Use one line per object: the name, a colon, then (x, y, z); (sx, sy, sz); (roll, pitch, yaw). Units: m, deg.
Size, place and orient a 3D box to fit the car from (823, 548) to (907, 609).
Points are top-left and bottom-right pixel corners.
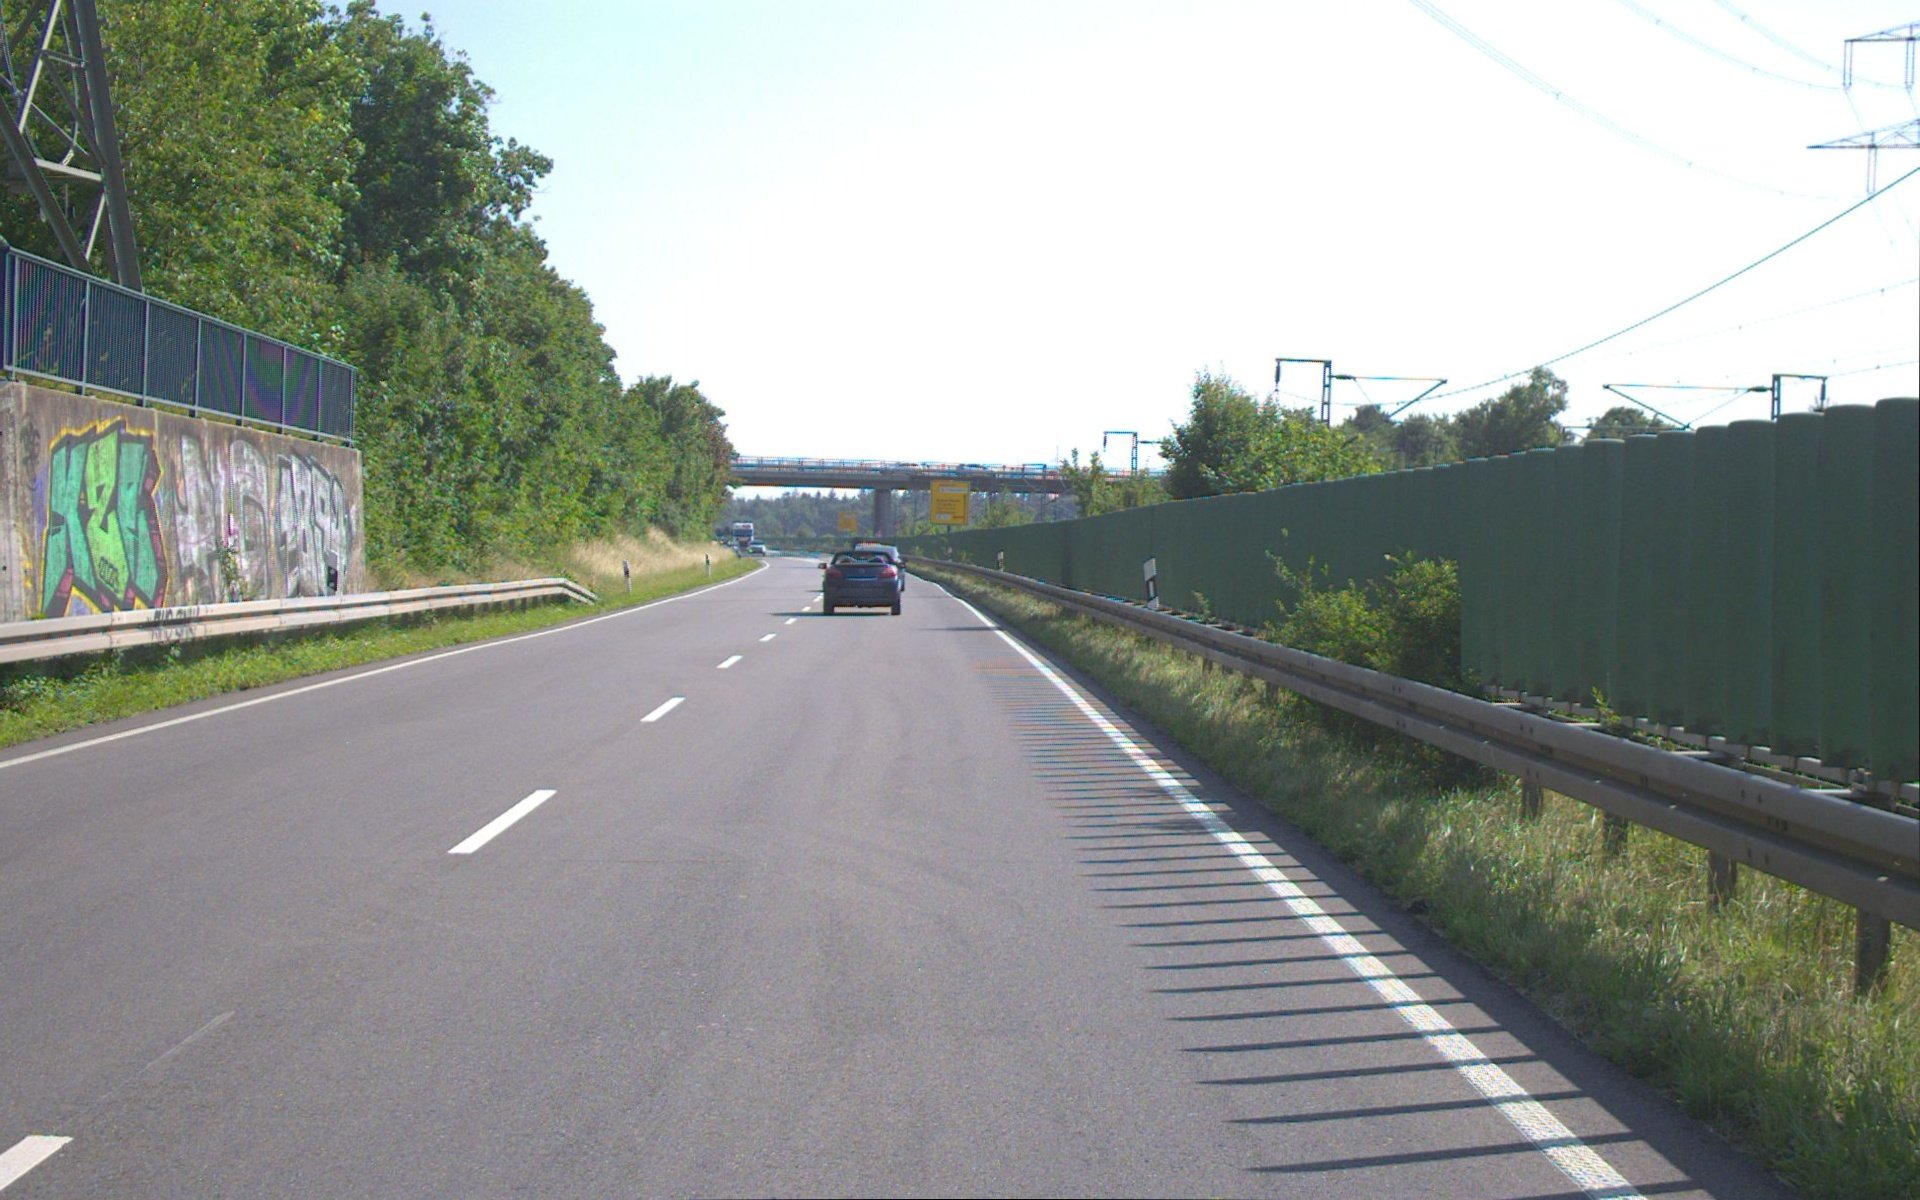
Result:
car: (-2.049, -0.465, 73.285); (1.663, 1.257, 4.001); (1, 1, -3)
